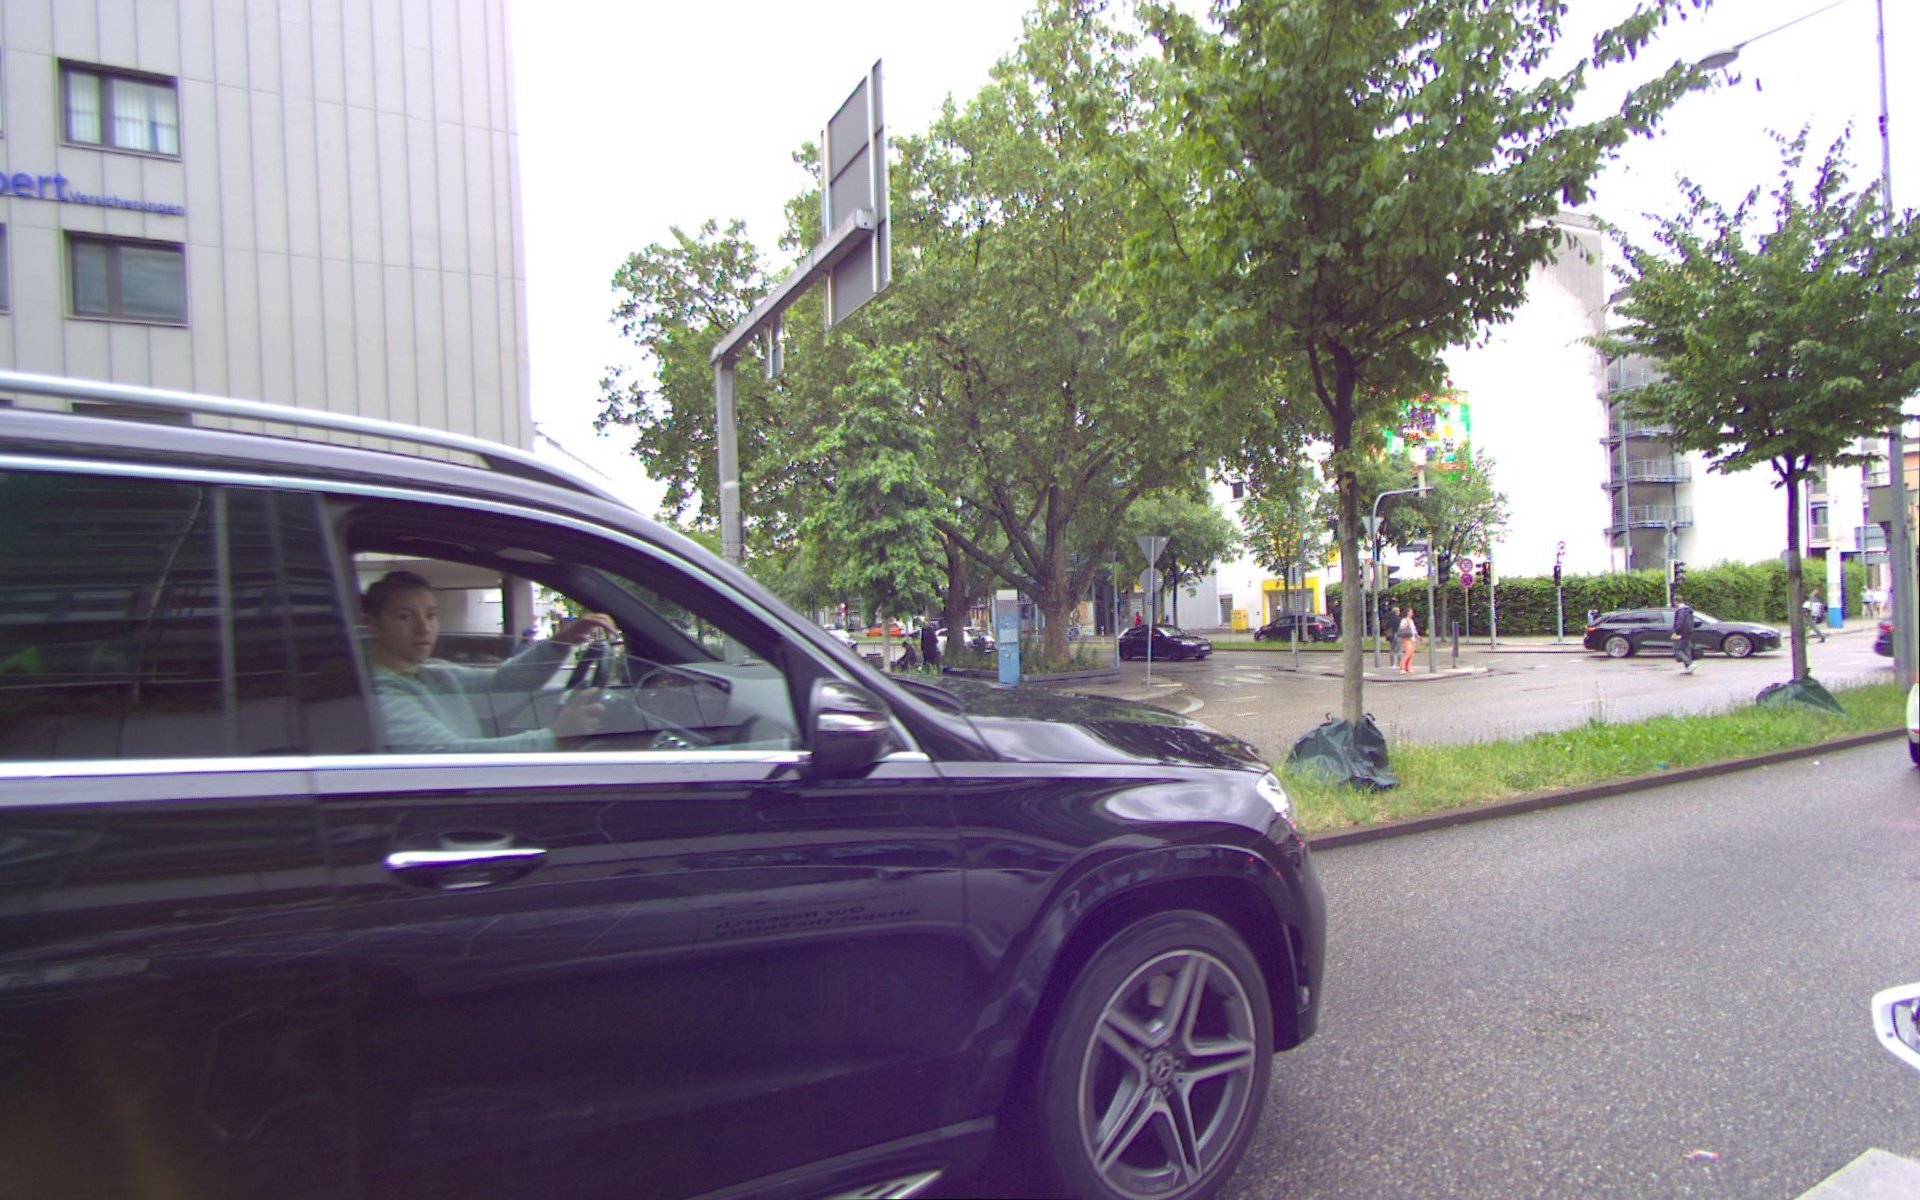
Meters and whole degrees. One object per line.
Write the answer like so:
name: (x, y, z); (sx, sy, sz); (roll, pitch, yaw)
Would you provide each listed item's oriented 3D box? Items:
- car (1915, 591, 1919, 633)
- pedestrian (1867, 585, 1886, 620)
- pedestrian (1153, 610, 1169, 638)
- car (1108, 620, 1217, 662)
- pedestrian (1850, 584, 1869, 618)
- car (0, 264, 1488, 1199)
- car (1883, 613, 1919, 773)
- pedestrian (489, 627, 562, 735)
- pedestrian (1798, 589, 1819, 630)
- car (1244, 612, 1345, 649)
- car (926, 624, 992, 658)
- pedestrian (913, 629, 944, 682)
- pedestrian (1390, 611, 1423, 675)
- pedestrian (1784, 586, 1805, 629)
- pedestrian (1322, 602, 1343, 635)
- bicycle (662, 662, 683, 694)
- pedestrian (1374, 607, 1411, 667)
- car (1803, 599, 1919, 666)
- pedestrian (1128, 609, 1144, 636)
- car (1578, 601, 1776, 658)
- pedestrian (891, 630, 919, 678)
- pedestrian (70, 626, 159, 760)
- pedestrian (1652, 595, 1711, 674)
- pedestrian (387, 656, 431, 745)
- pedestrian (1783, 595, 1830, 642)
car: (36.087, 0.433, 36.269); (3.571, 1.506, 1.564); (0, 1, -34)
pedestrian: (47.160, 0.130, 51.689); (0.651, 1.751, 0.591); (2, 0, -38)
pedestrian: (12.223, 1.455, 61.152); (0.630, 1.664, 0.729); (2, 0, -24)
car: (8.119, 1.626, 40.513); (1.691, 1.586, 4.192); (0, -2, -40)
pedestrian: (46.523, 0.052, 51.967); (0.651, 1.751, 0.591); (2, 0, -38)
car: (-1.212, 0.546, 2.328); (5.013, 1.895, 1.902); (2, -1, -30)
car: (10.663, 0.859, 9.659); (3.801, 1.448, 1.767); (0, 0, -33)
pedestrian: (-7.170, 1.315, 16.570); (0.954, 1.702, 0.703); (2, 0, -33)
pedestrian: (37.114, 0.417, 43.936); (0.559, 1.771, 0.535); (2, 0, -35)
car: (15.336, 1.416, 46.176); (1.779, 1.474, 4.018); (-2, -2, -41)
car: (-0.099, 2.073, 51.987); (1.617, 1.506, 4.276); (0, 1, -27)
pedestrian: (-1.061, 1.848, 33.602); (0.719, 1.719, 0.782); (2, -2, -35)
pedestrian: (12.024, 1.156, 27.077); (0.572, 1.684, 0.554); (-2, 0, -30)
pedestrian: (35.660, 0.322, 42.912); (0.741, 1.771, 0.535); (2, 0, -38)
pedestrian: (19.182, 0.947, 51.695); (0.633, 1.664, 0.726); (2, 0, -37)
bicycle: (-9.587, 2.581, 33.513); (0.512, 0.918, 2.064); (2, -1, -20)
pedestrian: (12.673, 1.072, 29.414); (0.620, 1.684, 0.749); (-2, 0, -30)
car: (22.285, 0.709, 22.902); (1.779, 1.474, 4.452); (-2, -2, -42)
pedestrian: (11.160, 1.445, 63.720); (0.723, 1.664, 0.635); (2, 0, -24)
car: (21.176, 0.900, 29.812); (1.779, 1.474, 4.452); (-2, -2, -42)
pedestrian: (-1.977, 1.950, 36.298); (0.780, 1.719, 0.721); (1, -2, -26)
pedestrian: (-11.724, 1.275, 13.949); (0.739, 1.807, 0.550); (2, 0, -18)
pedestrian: (16.937, 0.799, 23.578); (0.702, 1.807, 0.917); (2, 0, -35)
pedestrian: (-11.072, 1.998, 20.204); (0.700, 1.702, 0.745); (2, 0, -28)
pedestrian: (29.325, 0.638, 34.804); (0.677, 1.599, 1.055); (2, 0, -34)
